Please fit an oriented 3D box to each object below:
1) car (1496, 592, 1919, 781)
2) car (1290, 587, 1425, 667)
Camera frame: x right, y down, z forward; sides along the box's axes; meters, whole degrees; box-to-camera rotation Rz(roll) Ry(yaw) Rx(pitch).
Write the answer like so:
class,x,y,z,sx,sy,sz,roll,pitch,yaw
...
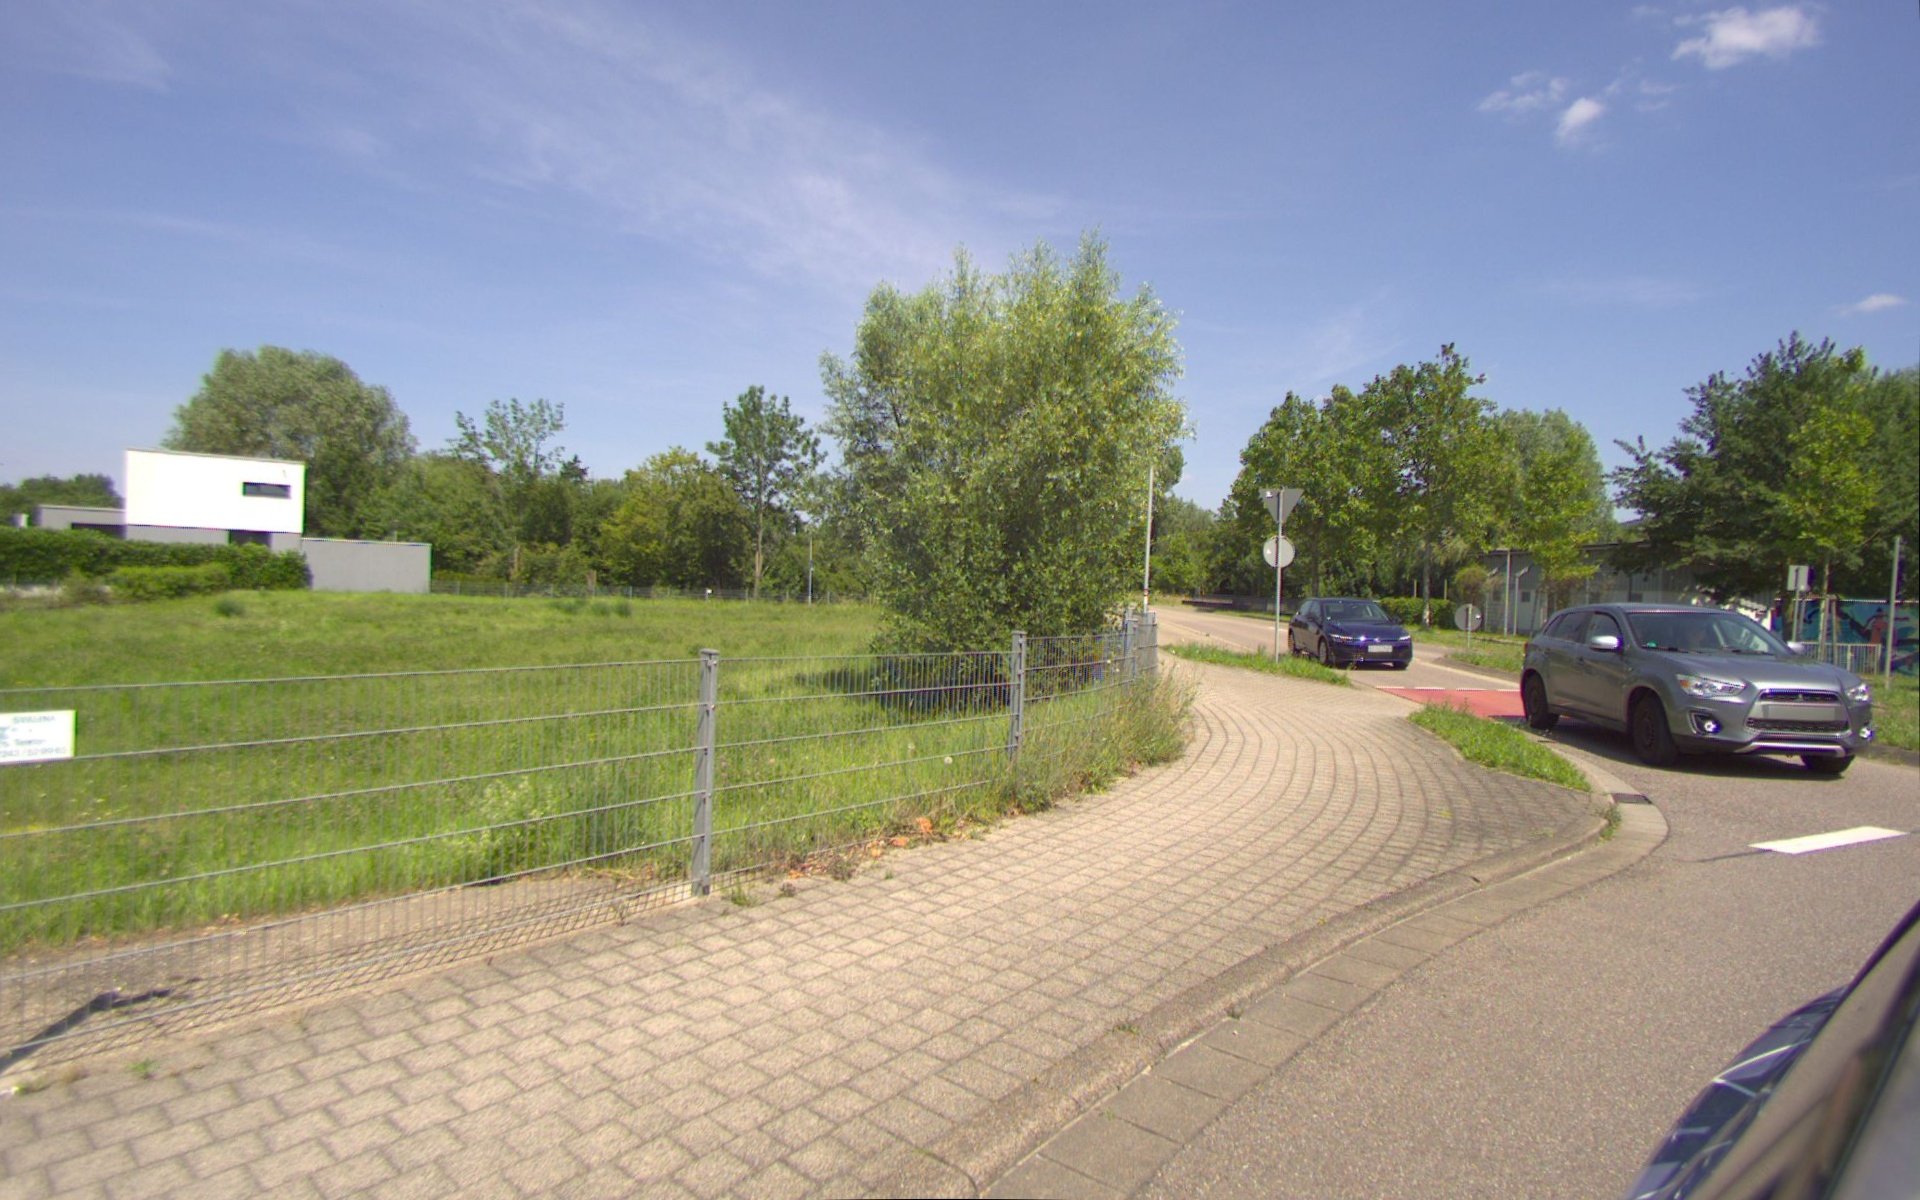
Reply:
class,x,y,z,sx,sy,sz,roll,pitch,yaw
car,7.885,0.751,11.248,1.720,1.553,4.519,2,1,5
car,8.634,0.516,22.332,1.764,1.559,4.123,1,1,7
